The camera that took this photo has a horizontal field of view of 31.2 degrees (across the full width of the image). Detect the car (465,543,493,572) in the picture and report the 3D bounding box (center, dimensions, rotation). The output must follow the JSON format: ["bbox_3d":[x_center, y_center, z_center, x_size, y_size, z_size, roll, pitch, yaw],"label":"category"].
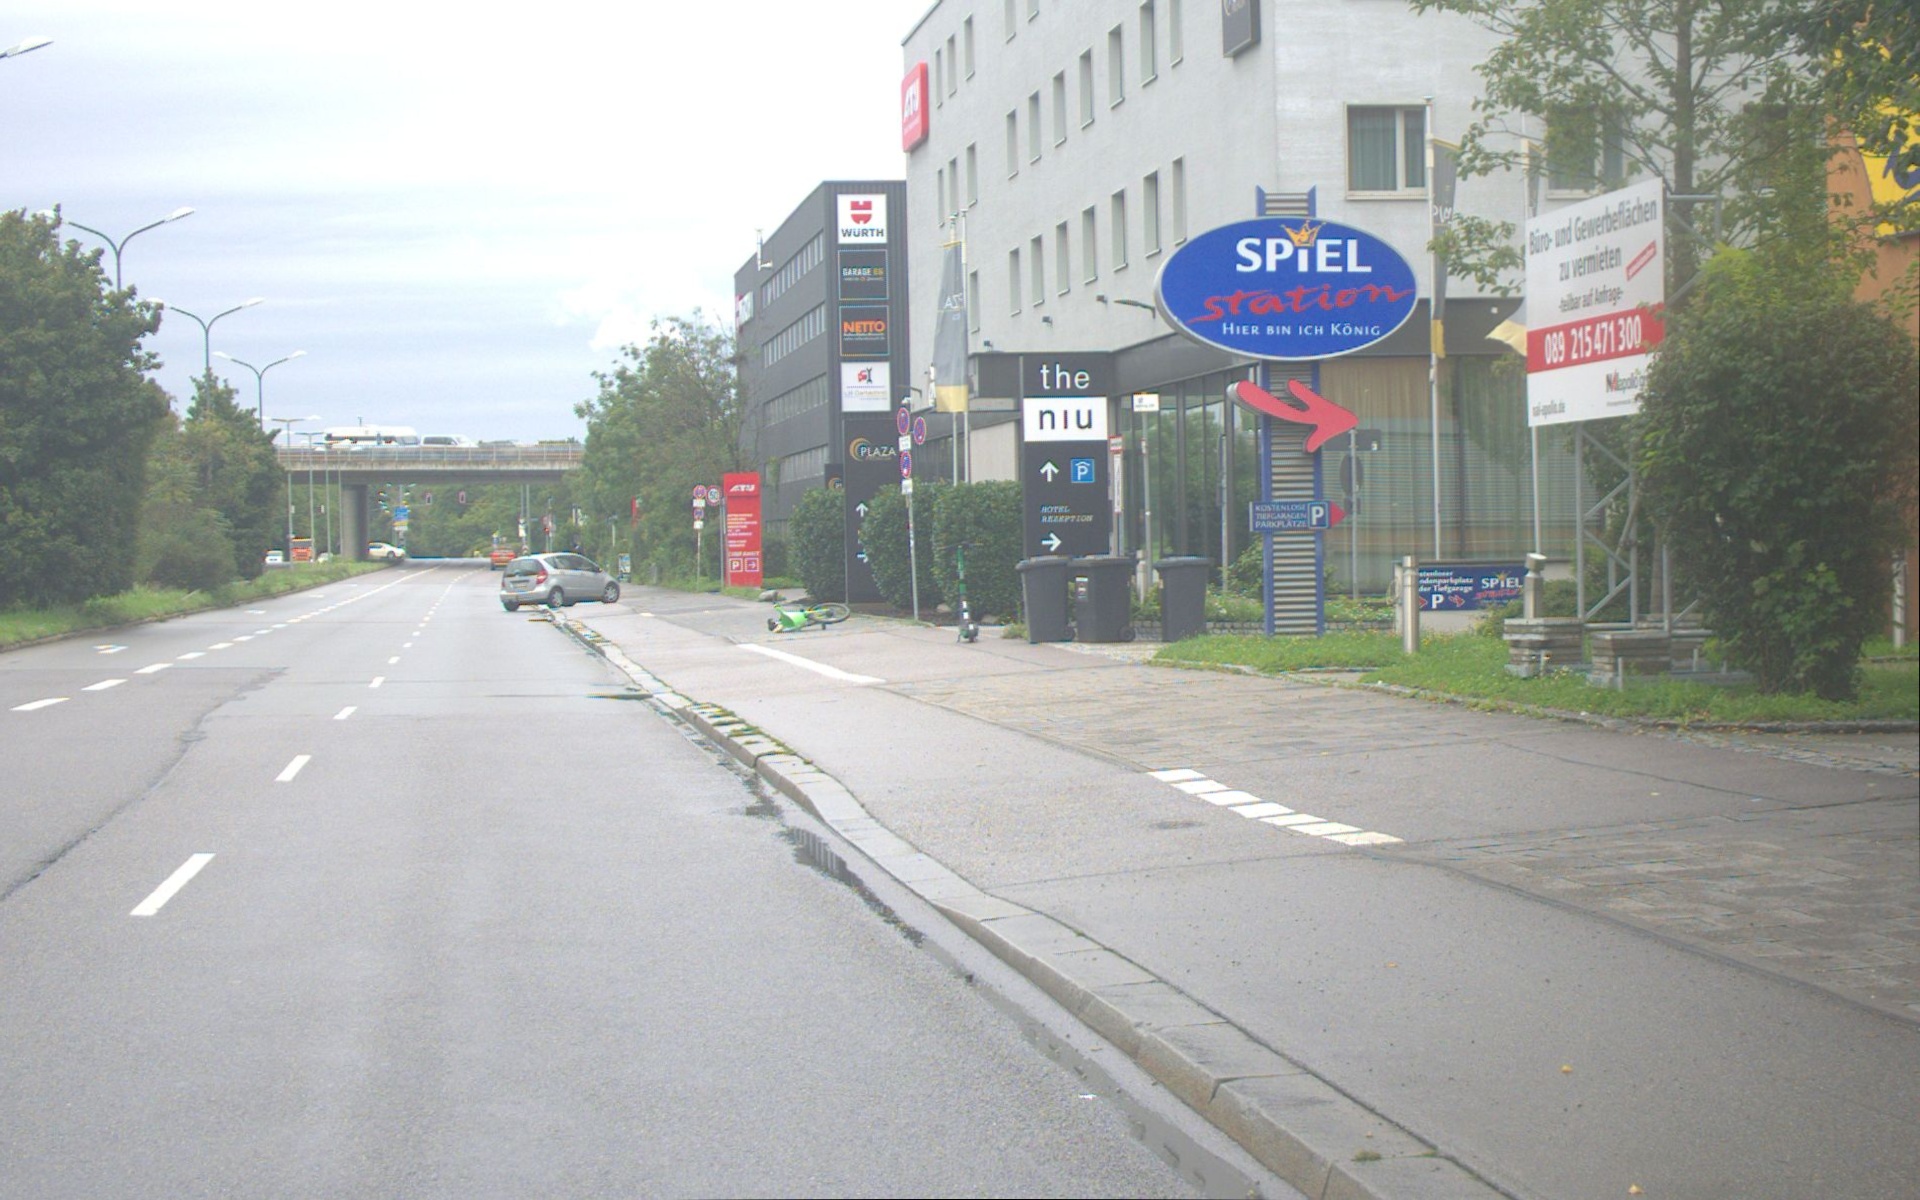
[{"bbox_3d":[-32.915,-2.925,235.334,1.812,2.007,3.834,0,1,-6],"label":"car"}]

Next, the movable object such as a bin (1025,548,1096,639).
[{"bbox_3d":[1.237,-0.086,42.343,0.737,1.074,0.655,-3,1,-7],"label":"movable object such as a bin"}]

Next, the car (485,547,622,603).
[{"bbox_3d":[-11.609,-0.737,98.348,1.817,1.552,4.020,0,1,31],"label":"car"}]

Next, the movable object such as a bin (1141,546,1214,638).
[{"bbox_3d":[2.648,-0.100,41.918,0.737,1.074,0.655,-3,1,-7],"label":"movable object such as a bin"}]

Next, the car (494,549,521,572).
[{"bbox_3d":[-31.005,-2.745,235.368,1.735,1.543,4.305,0,1,-8],"label":"car"}]

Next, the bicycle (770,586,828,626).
[{"bbox_3d":[-2.566,0.087,54.724,0.719,0.547,1.733,-5,2,-8],"label":"bicycle"}]

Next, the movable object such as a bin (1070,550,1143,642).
[{"bbox_3d":[1.772,-0.058,41.693,0.737,1.074,0.655,-3,1,-7],"label":"movable object such as a bin"}]

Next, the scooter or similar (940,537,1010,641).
[{"bbox_3d":[0.188,-0.150,44.420,0.585,1.273,1.404,-6,2,-7],"label":"scooter or similar"}]
